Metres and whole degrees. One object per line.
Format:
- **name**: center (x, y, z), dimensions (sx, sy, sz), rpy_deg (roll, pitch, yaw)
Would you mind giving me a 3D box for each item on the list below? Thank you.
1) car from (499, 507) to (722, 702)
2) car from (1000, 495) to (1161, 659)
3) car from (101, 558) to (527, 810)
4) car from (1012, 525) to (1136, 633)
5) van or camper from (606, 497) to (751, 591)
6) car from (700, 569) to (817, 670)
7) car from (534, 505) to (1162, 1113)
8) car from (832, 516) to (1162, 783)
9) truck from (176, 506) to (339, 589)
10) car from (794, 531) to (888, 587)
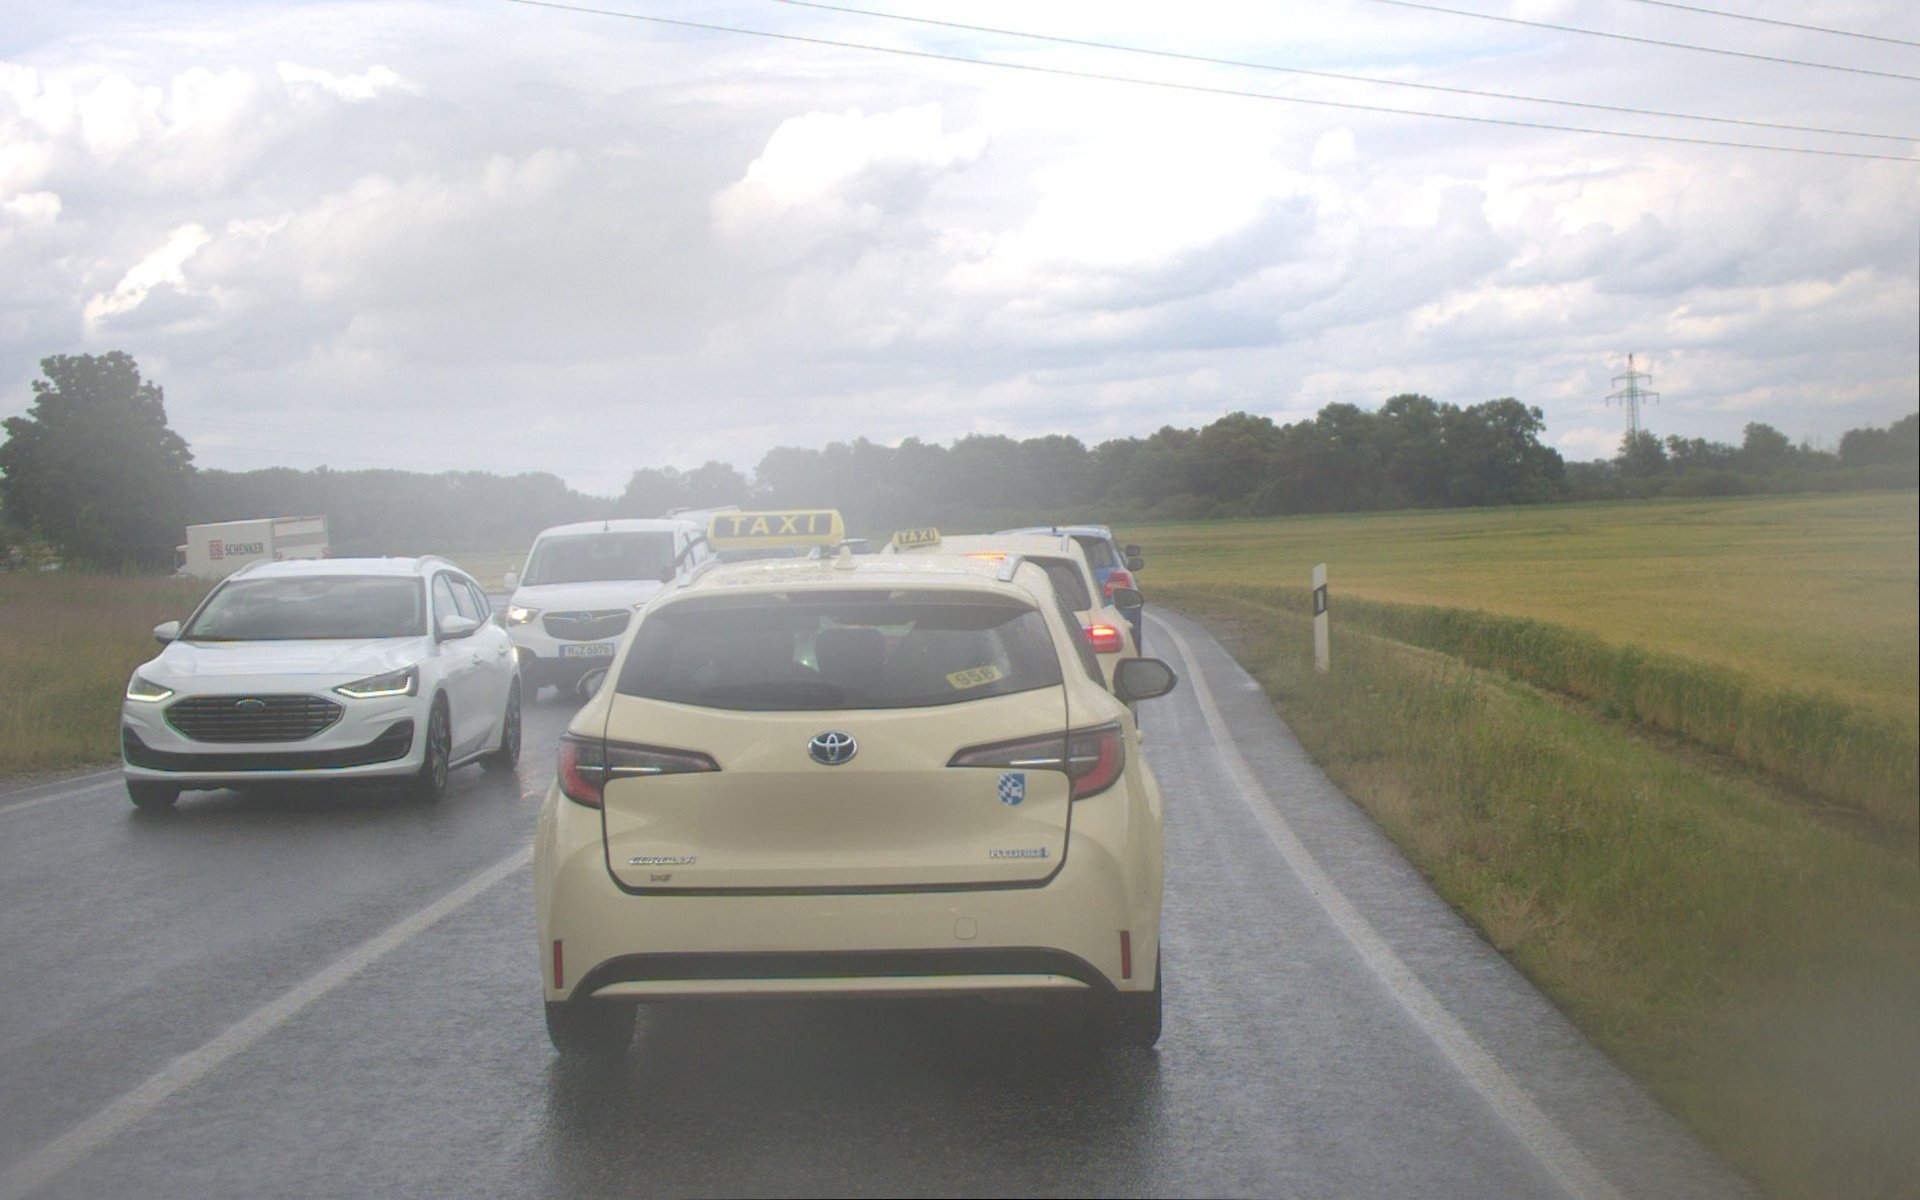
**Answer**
- **car**: center (-3.490, 0.026, 35.050), dimensions (1.844, 1.849, 4.447), rpy_deg (1, 0, -1)
- **car**: center (1.259, -0.223, 36.692), dimensions (1.613, 1.653, 3.738), rpy_deg (1, 0, 1)
- **car**: center (-3.849, 0.450, 21.195), dimensions (1.844, 1.383, 4.287), rpy_deg (1, 0, -1)
- **car**: center (1.557, -0.260, 46.989), dimensions (1.613, 1.408, 3.738), rpy_deg (1, 0, 2)
- **van or camper**: center (-8.940, -1.756, 108.511), dimensions (2.536, 2.886, 6.744), rpy_deg (0, 1, -23)
- **car**: center (-3.428, 0.302, 59.067), dimensions (1.848, 1.626, 4.535), rpy_deg (-1, 1, -2)
- **car**: center (-0.246, 0.552, 10.772), dimensions (1.613, 1.557, 3.738), rpy_deg (1, 0, 1)
- **car**: center (0.230, 0.246, 21.626), dimensions (1.841, 1.487, 4.608), rpy_deg (1, 1, 1)
- **truck**: center (-28.482, -2.085, 139.122), dimensions (3.014, 3.198, 8.230), rpy_deg (1, -1, -39)
- **car**: center (-3.209, -1.082, 91.811), dimensions (1.783, 1.408, 3.739), rpy_deg (1, 0, -13)
